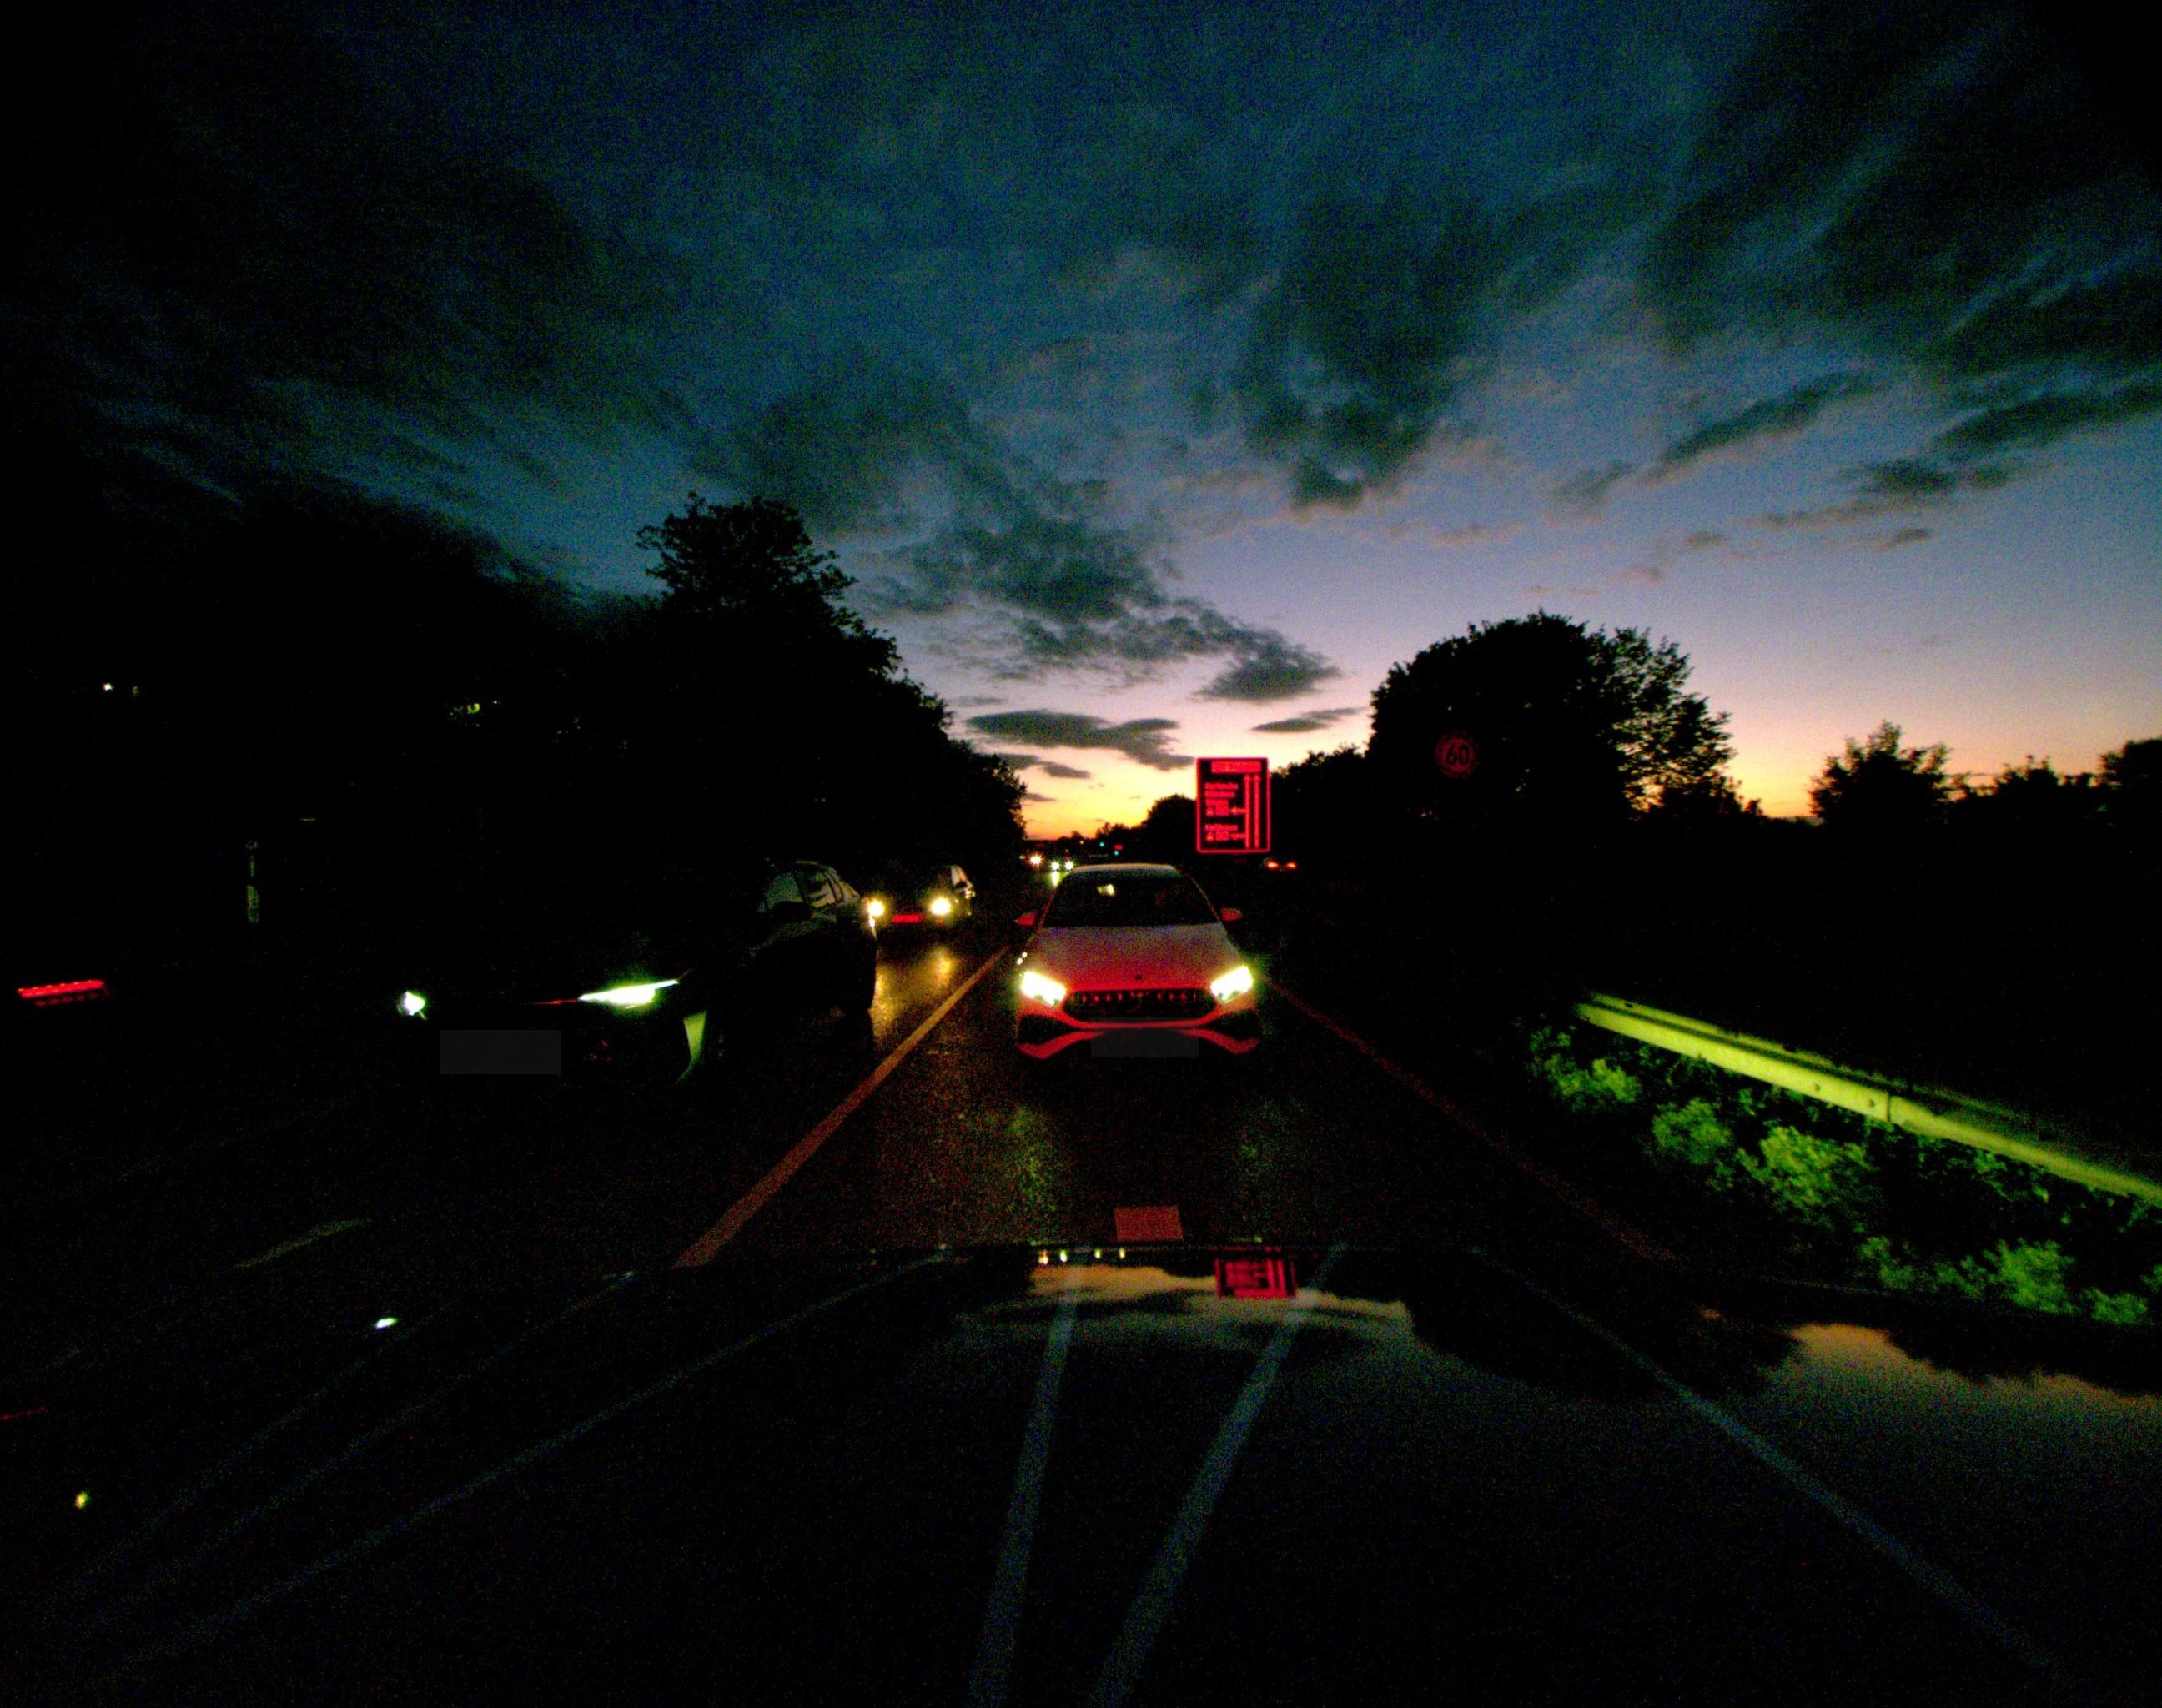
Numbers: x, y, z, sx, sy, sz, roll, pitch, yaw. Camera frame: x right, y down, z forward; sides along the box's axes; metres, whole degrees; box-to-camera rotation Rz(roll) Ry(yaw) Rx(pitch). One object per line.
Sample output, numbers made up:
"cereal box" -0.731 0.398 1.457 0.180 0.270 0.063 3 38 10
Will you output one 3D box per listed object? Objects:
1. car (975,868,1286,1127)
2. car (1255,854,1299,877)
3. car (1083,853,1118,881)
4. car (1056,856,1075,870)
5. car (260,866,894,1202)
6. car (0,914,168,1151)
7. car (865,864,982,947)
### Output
"car" 0.309 0.935 7.001 1.901 1.472 4.514 -2 0 0
"car" 13.477 0.740 52.552 1.998 1.510 4.297 -1 0 1
"car" 1.152 0.764 47.164 1.999 1.602 4.501 -1 0 -1
"car" -1.681 0.904 81.748 1.999 1.423 4.501 0 0 -1
"car" -3.173 0.968 6.268 1.998 1.600 4.711 -2 0 1
"car" -7.990 1.183 3.354 1.922 1.423 4.706 -1 0 9
"car" -3.261 1.010 16.468 1.624 1.460 3.871 -2 0 1
